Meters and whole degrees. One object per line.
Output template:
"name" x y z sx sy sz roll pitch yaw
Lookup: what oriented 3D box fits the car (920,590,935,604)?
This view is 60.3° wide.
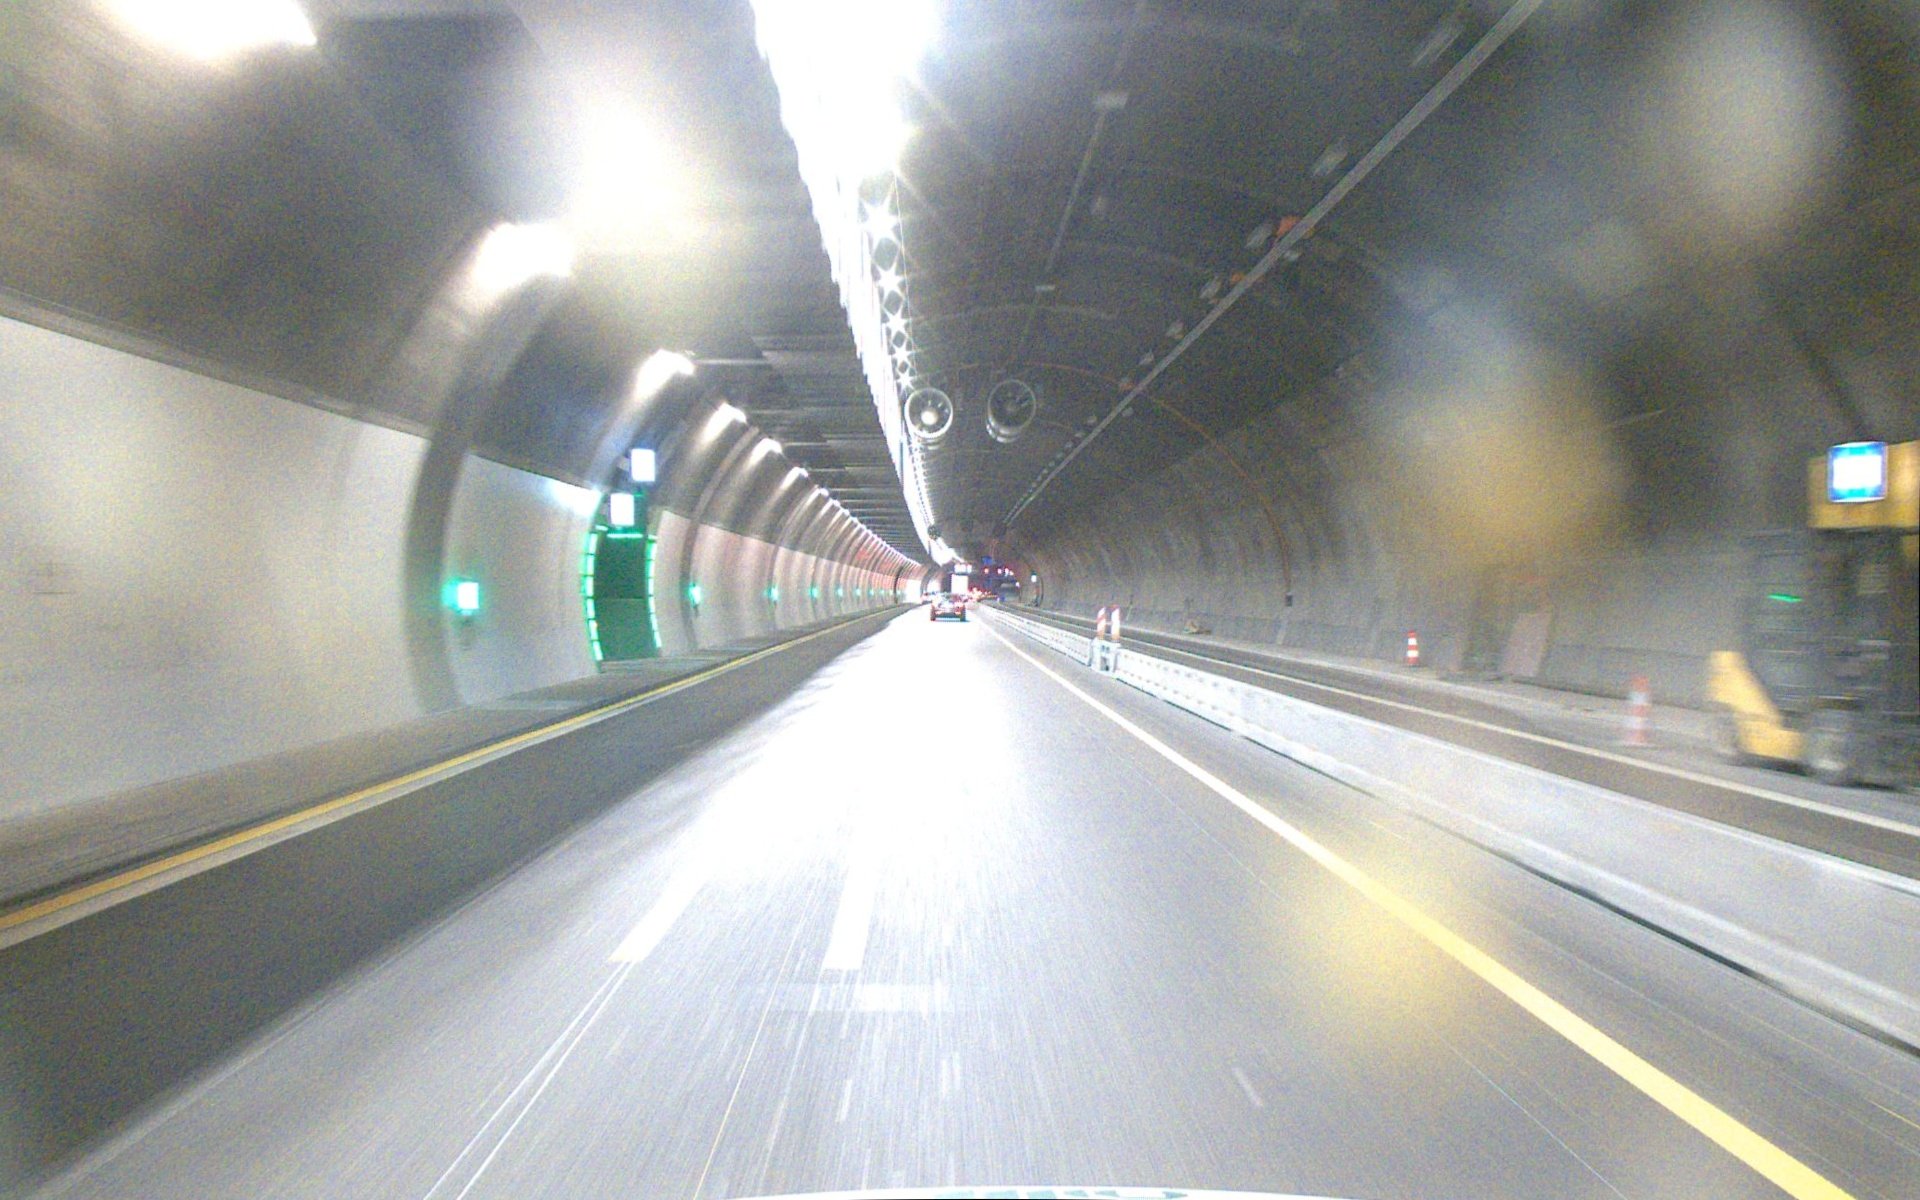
"car" -3.943 -0.340 200.661 1.790 1.635 3.999 1 0 -1

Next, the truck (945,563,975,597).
"truck" 0.015 -3.117 261.588 4.452 5.074 9.600 1 0 1

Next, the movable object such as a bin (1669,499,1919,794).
"movable object such as a bin" 7.890 0.366 14.022 1.649 2.183 4.626 1 0 -1

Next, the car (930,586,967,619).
"car" -0.613 0.151 86.903 1.849 1.635 3.999 1 0 -1
